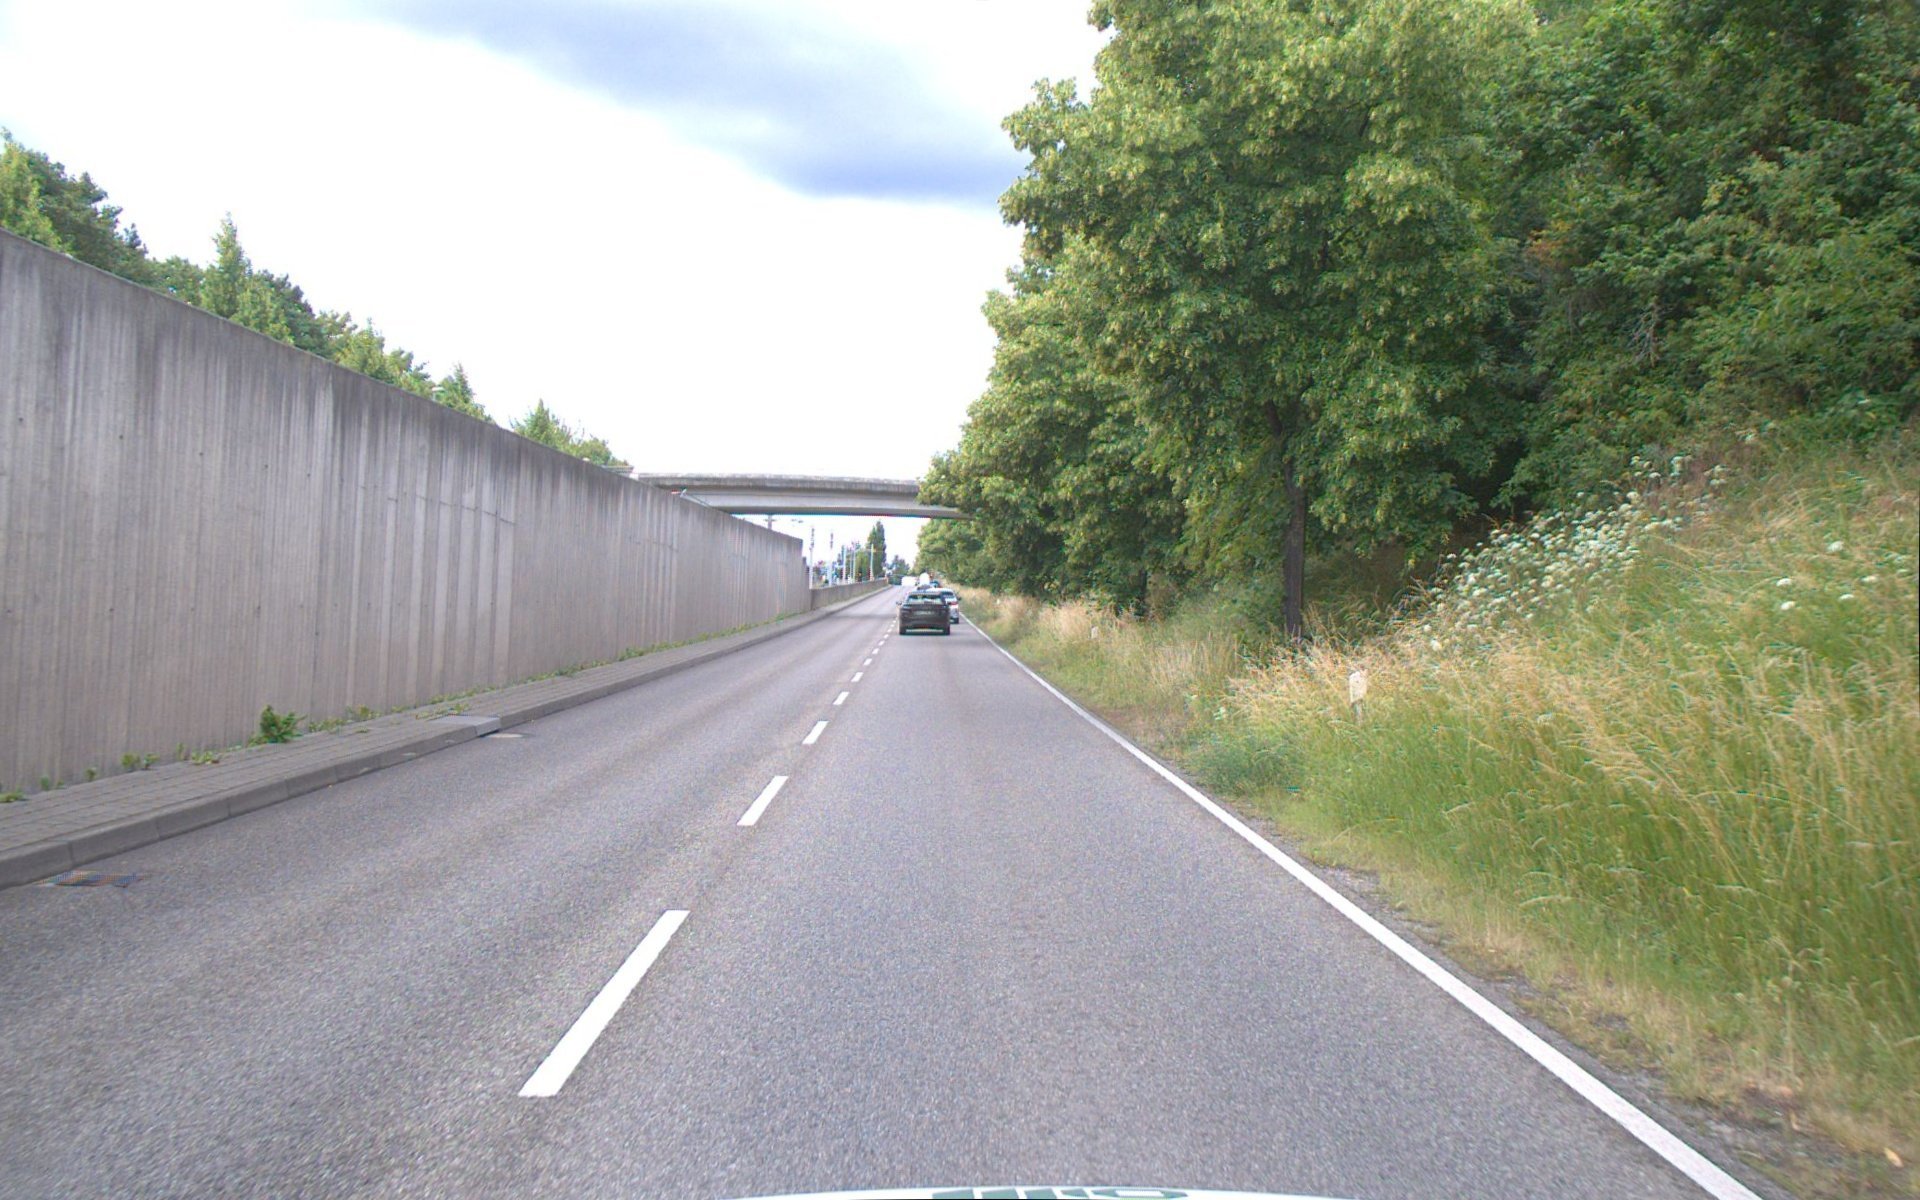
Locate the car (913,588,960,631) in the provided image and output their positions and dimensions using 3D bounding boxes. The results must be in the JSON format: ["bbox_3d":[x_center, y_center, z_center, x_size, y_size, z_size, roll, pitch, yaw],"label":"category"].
[{"bbox_3d":[-1.015,0.390,71.634,1.953,1.783,3.999,1,0,-1],"label":"car"}]

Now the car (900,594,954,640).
[{"bbox_3d":[-1.136,0.545,56.730,1.745,1.493,3.999,1,0,-1],"label":"car"}]

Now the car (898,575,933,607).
[{"bbox_3d":[-2.561,-0.486,96.283,1.953,1.771,3.999,1,0,-1],"label":"car"}]
